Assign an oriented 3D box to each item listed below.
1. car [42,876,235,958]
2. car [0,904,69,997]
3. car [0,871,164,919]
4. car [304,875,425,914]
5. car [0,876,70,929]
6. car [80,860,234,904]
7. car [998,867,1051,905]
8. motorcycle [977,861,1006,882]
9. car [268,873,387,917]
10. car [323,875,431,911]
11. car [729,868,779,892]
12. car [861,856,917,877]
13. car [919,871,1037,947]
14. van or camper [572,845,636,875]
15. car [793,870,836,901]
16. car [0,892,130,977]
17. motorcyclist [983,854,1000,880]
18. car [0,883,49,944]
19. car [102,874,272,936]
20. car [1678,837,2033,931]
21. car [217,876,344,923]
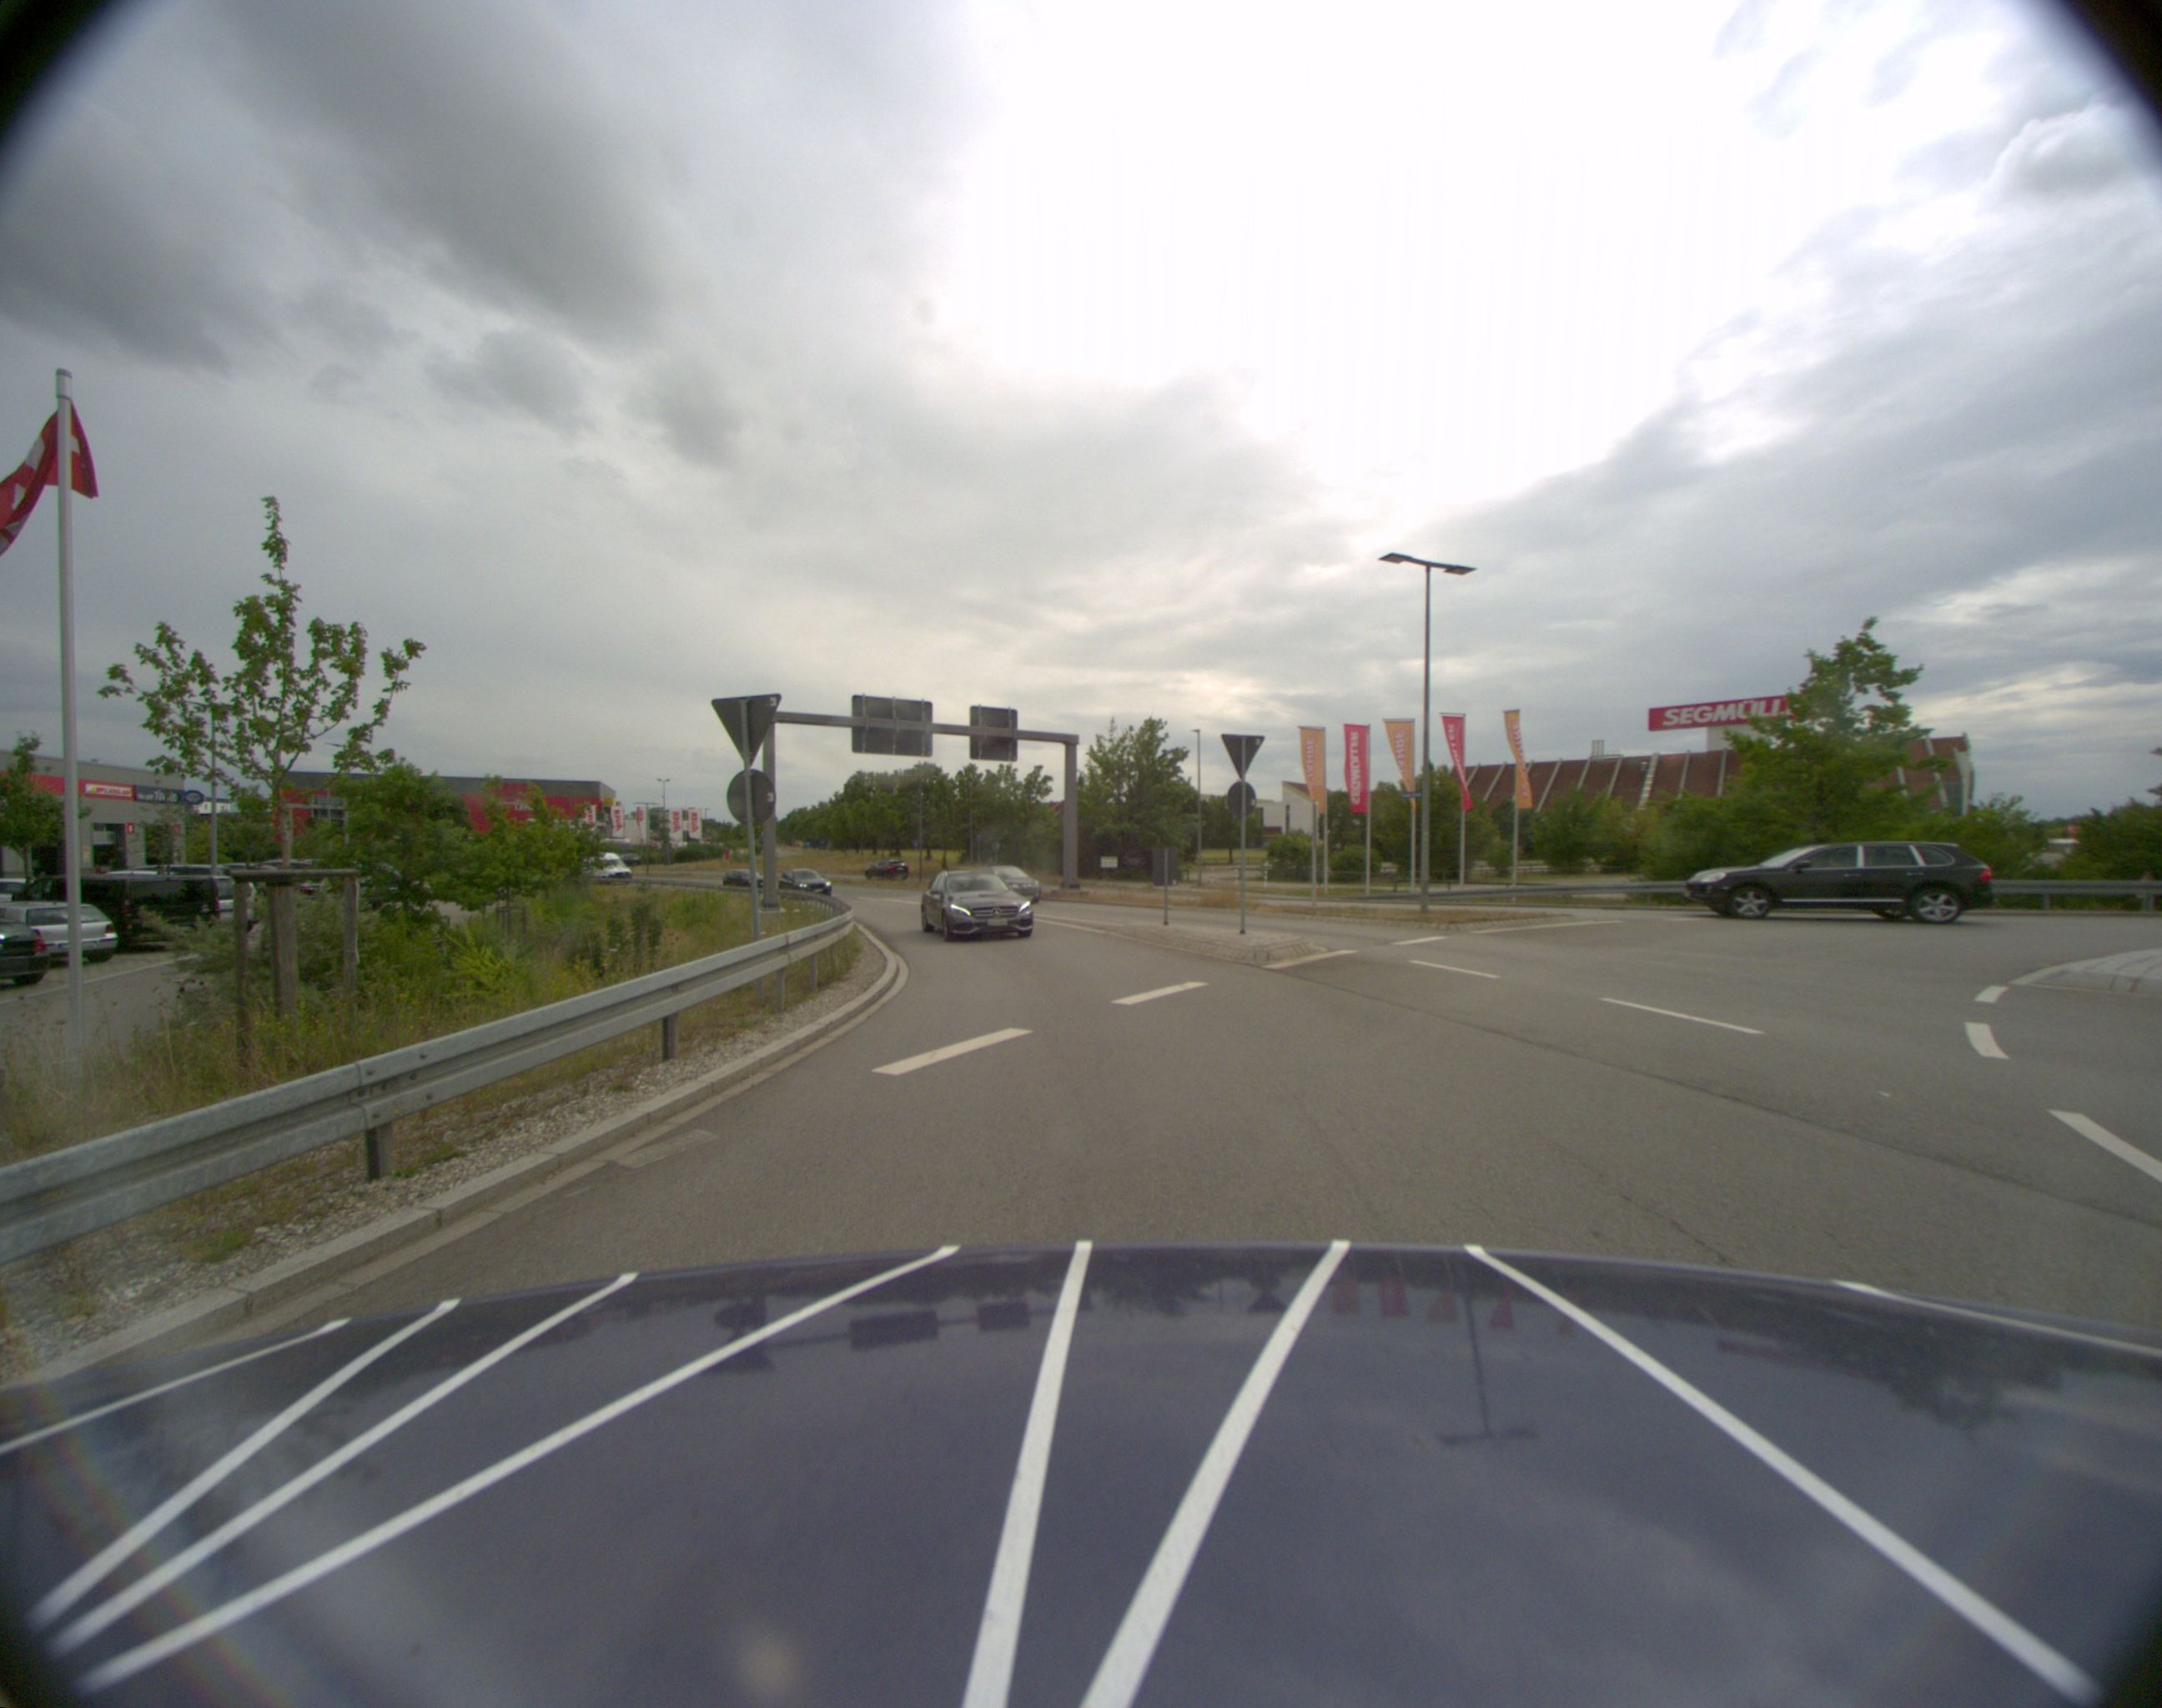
[{"bbox_3d":[-25.162,1.600,20.319,4.068,1.897,1.908,1,0,18],"label":"car"},{"bbox_3d":[-22.185,1.799,14.577,4.070,1.570,1.773,2,1,12],"label":"car"},{"bbox_3d":[-37.092,1.473,28.076,3.705,1.536,1.587,-2,2,-32],"label":"car"},{"bbox_3d":[-32.256,1.792,34.263,4.071,1.612,1.831,1,0,9],"label":"car"},{"bbox_3d":[-35.788,1.610,24.347,3.705,1.629,1.587,-2,2,-32],"label":"car"},{"bbox_3d":[-38.635,1.138,31.895,3.705,1.536,1.587,-3,2,-32],"label":"car"},{"bbox_3d":[-2.161,1.216,30.030,1.579,1.346,3.825,-2,-1,3],"label":"car"},{"bbox_3d":[-5.437,1.083,45.899,0.705,1.222,2.244,-1,-1,-36],"label":"motorcycle"},{"bbox_3d":[-30.796,1.675,31.066,4.069,1.612,1.739,-2,-1,18],"label":"car"},{"bbox_3d":[-34.560,1.874,37.353,4.071,1.612,1.738,1,0,9],"label":"car"},{"bbox_3d":[-22.974,1.788,53.326,3.927,1.404,1.864,1,3,45],"label":"car"},{"bbox_3d":[-14.626,0.957,57.828,4.269,1.458,1.896,0,2,39],"label":"car"},{"bbox_3d":[-2.410,1.134,16.888,1.767,1.411,4.085,-2,-1,-19],"label":"car"},{"bbox_3d":[-39.853,0.478,63.453,5.526,2.351,2.057,0,3,30],"label":"van or camper"},{"bbox_3d":[-15.203,1.721,43.169,1.863,1.404,4.547,-2,2,-24],"label":"car"},{"bbox_3d":[-24.331,1.757,17.338,4.069,1.570,1.773,1,1,15],"label":"car"},{"bbox_3d":[-5.402,0.789,45.817,0.676,1.566,0.844,-1,0,-37],"label":"motorcyclist"},{"bbox_3d":[-31.678,1.729,20.773,3.705,1.629,1.587,-2,2,-32],"label":"car"},{"bbox_3d":[-27.276,1.504,23.214,4.068,1.701,1.908,-1,1,18],"label":"car"},{"bbox_3d":[16.562,0.660,16.728,5.038,1.780,2.109,-2,1,28],"label":"car"},{"bbox_3d":[-29.856,1.687,28.345,4.069,1.612,1.653,-2,0,18],"label":"car"}]
